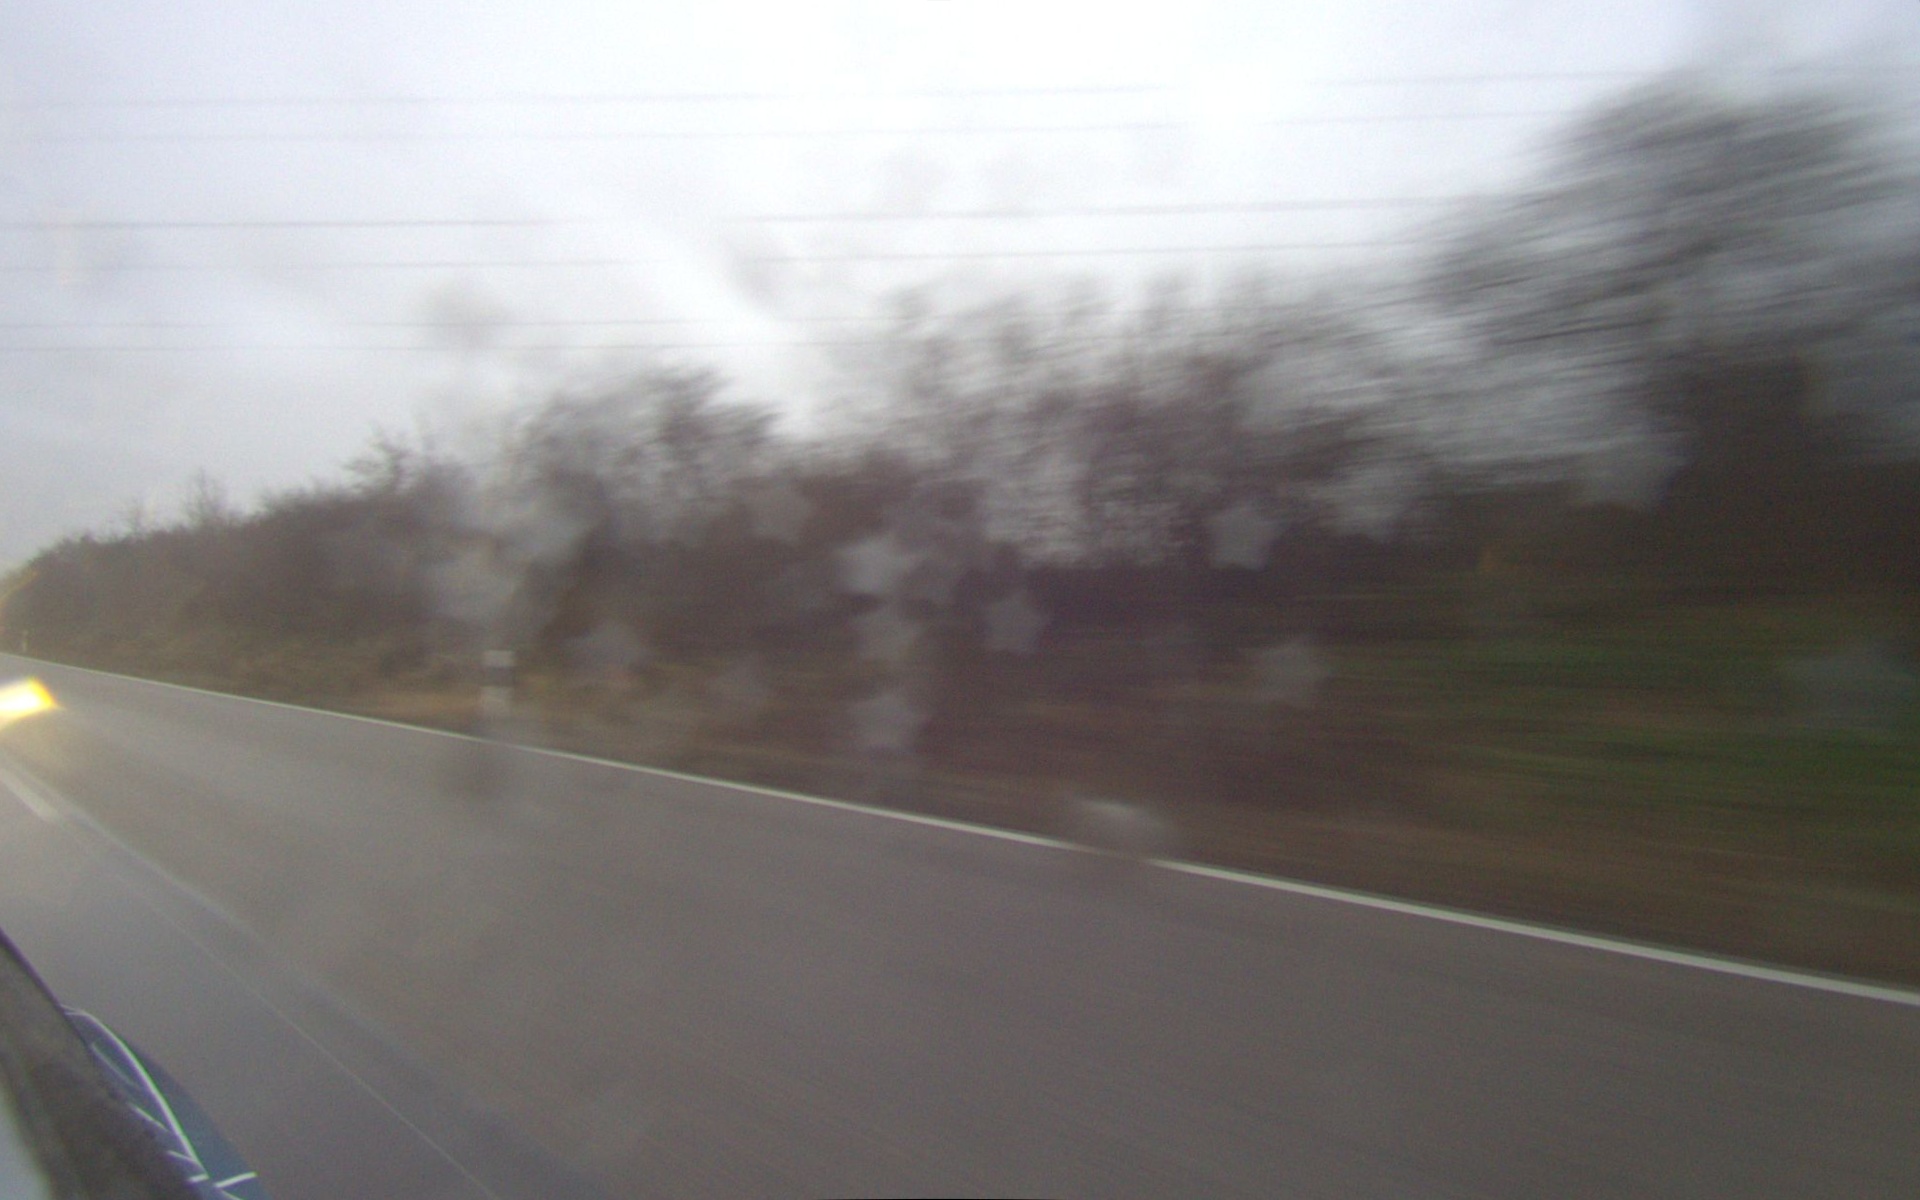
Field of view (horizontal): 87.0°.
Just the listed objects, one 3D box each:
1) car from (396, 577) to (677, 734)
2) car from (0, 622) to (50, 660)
[{"bbox_3d":[-5.827,0.645,13.727,3.999,1.798,1.973,-1,0,42],"label":"car"},{"bbox_3d":[-42.092,1.777,45.200,3.772,1.621,1.757,-1,-2,42],"label":"car"}]
